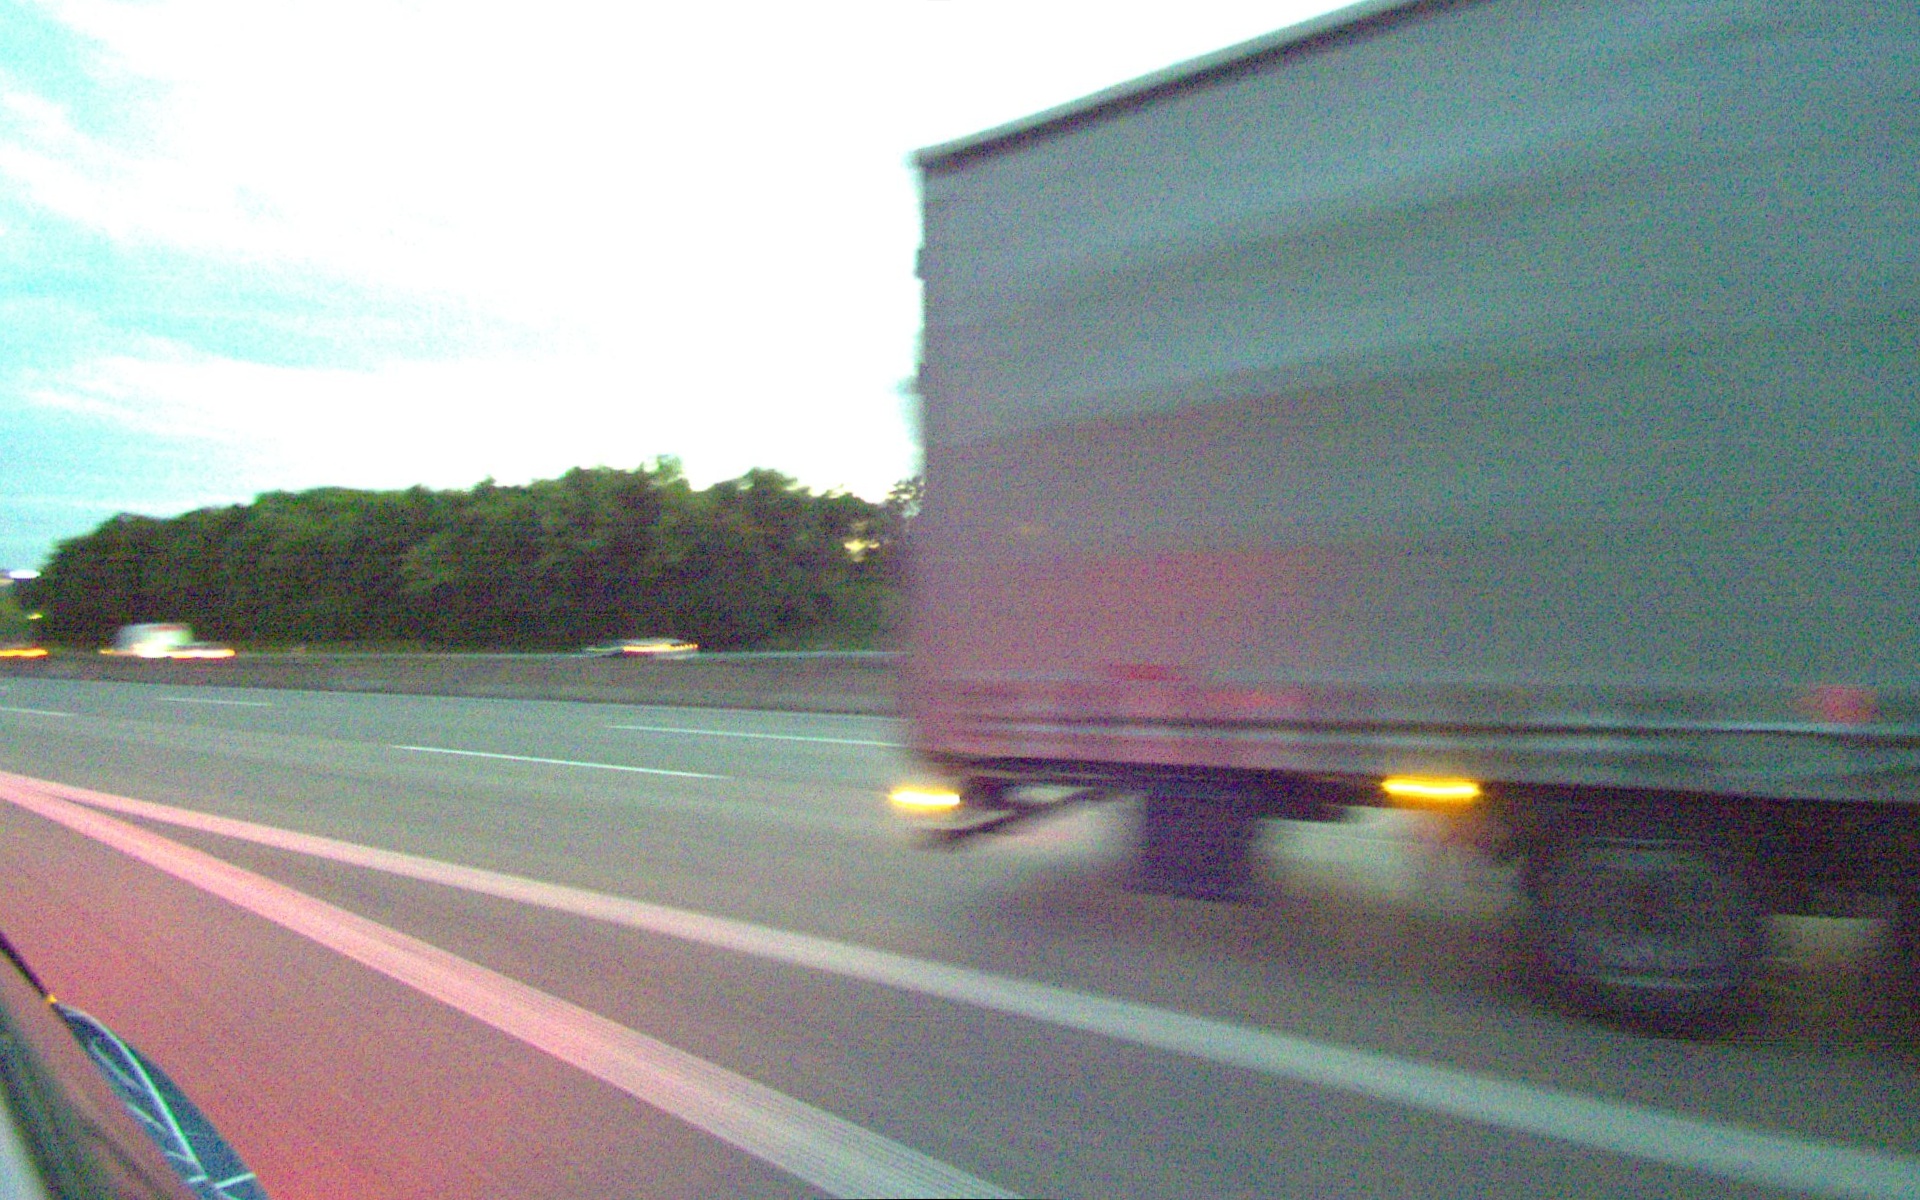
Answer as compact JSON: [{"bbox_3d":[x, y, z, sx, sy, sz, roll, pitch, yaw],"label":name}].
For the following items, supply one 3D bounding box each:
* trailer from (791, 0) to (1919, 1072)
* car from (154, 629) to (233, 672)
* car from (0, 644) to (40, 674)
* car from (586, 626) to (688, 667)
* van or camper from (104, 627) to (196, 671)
[{"bbox_3d":[6.003,-0.649,2.592,14.774,3.945,2.751,-2,-3,33],"label":"trailer"},{"bbox_3d":[-39.426,2.580,52.020,3.988,2.029,1.978,-2,-1,33],"label":"car"},{"bbox_3d":[-62.137,3.838,66.032,3.983,1.758,1.980,-2,0,30],"label":"car"},{"bbox_3d":[-13.558,1.942,42.494,3.987,1.560,1.978,-2,0,32],"label":"car"},{"bbox_3d":[-50.398,3.007,62.918,6.468,2.615,2.497,-2,-2,32],"label":"van or camper"}]
